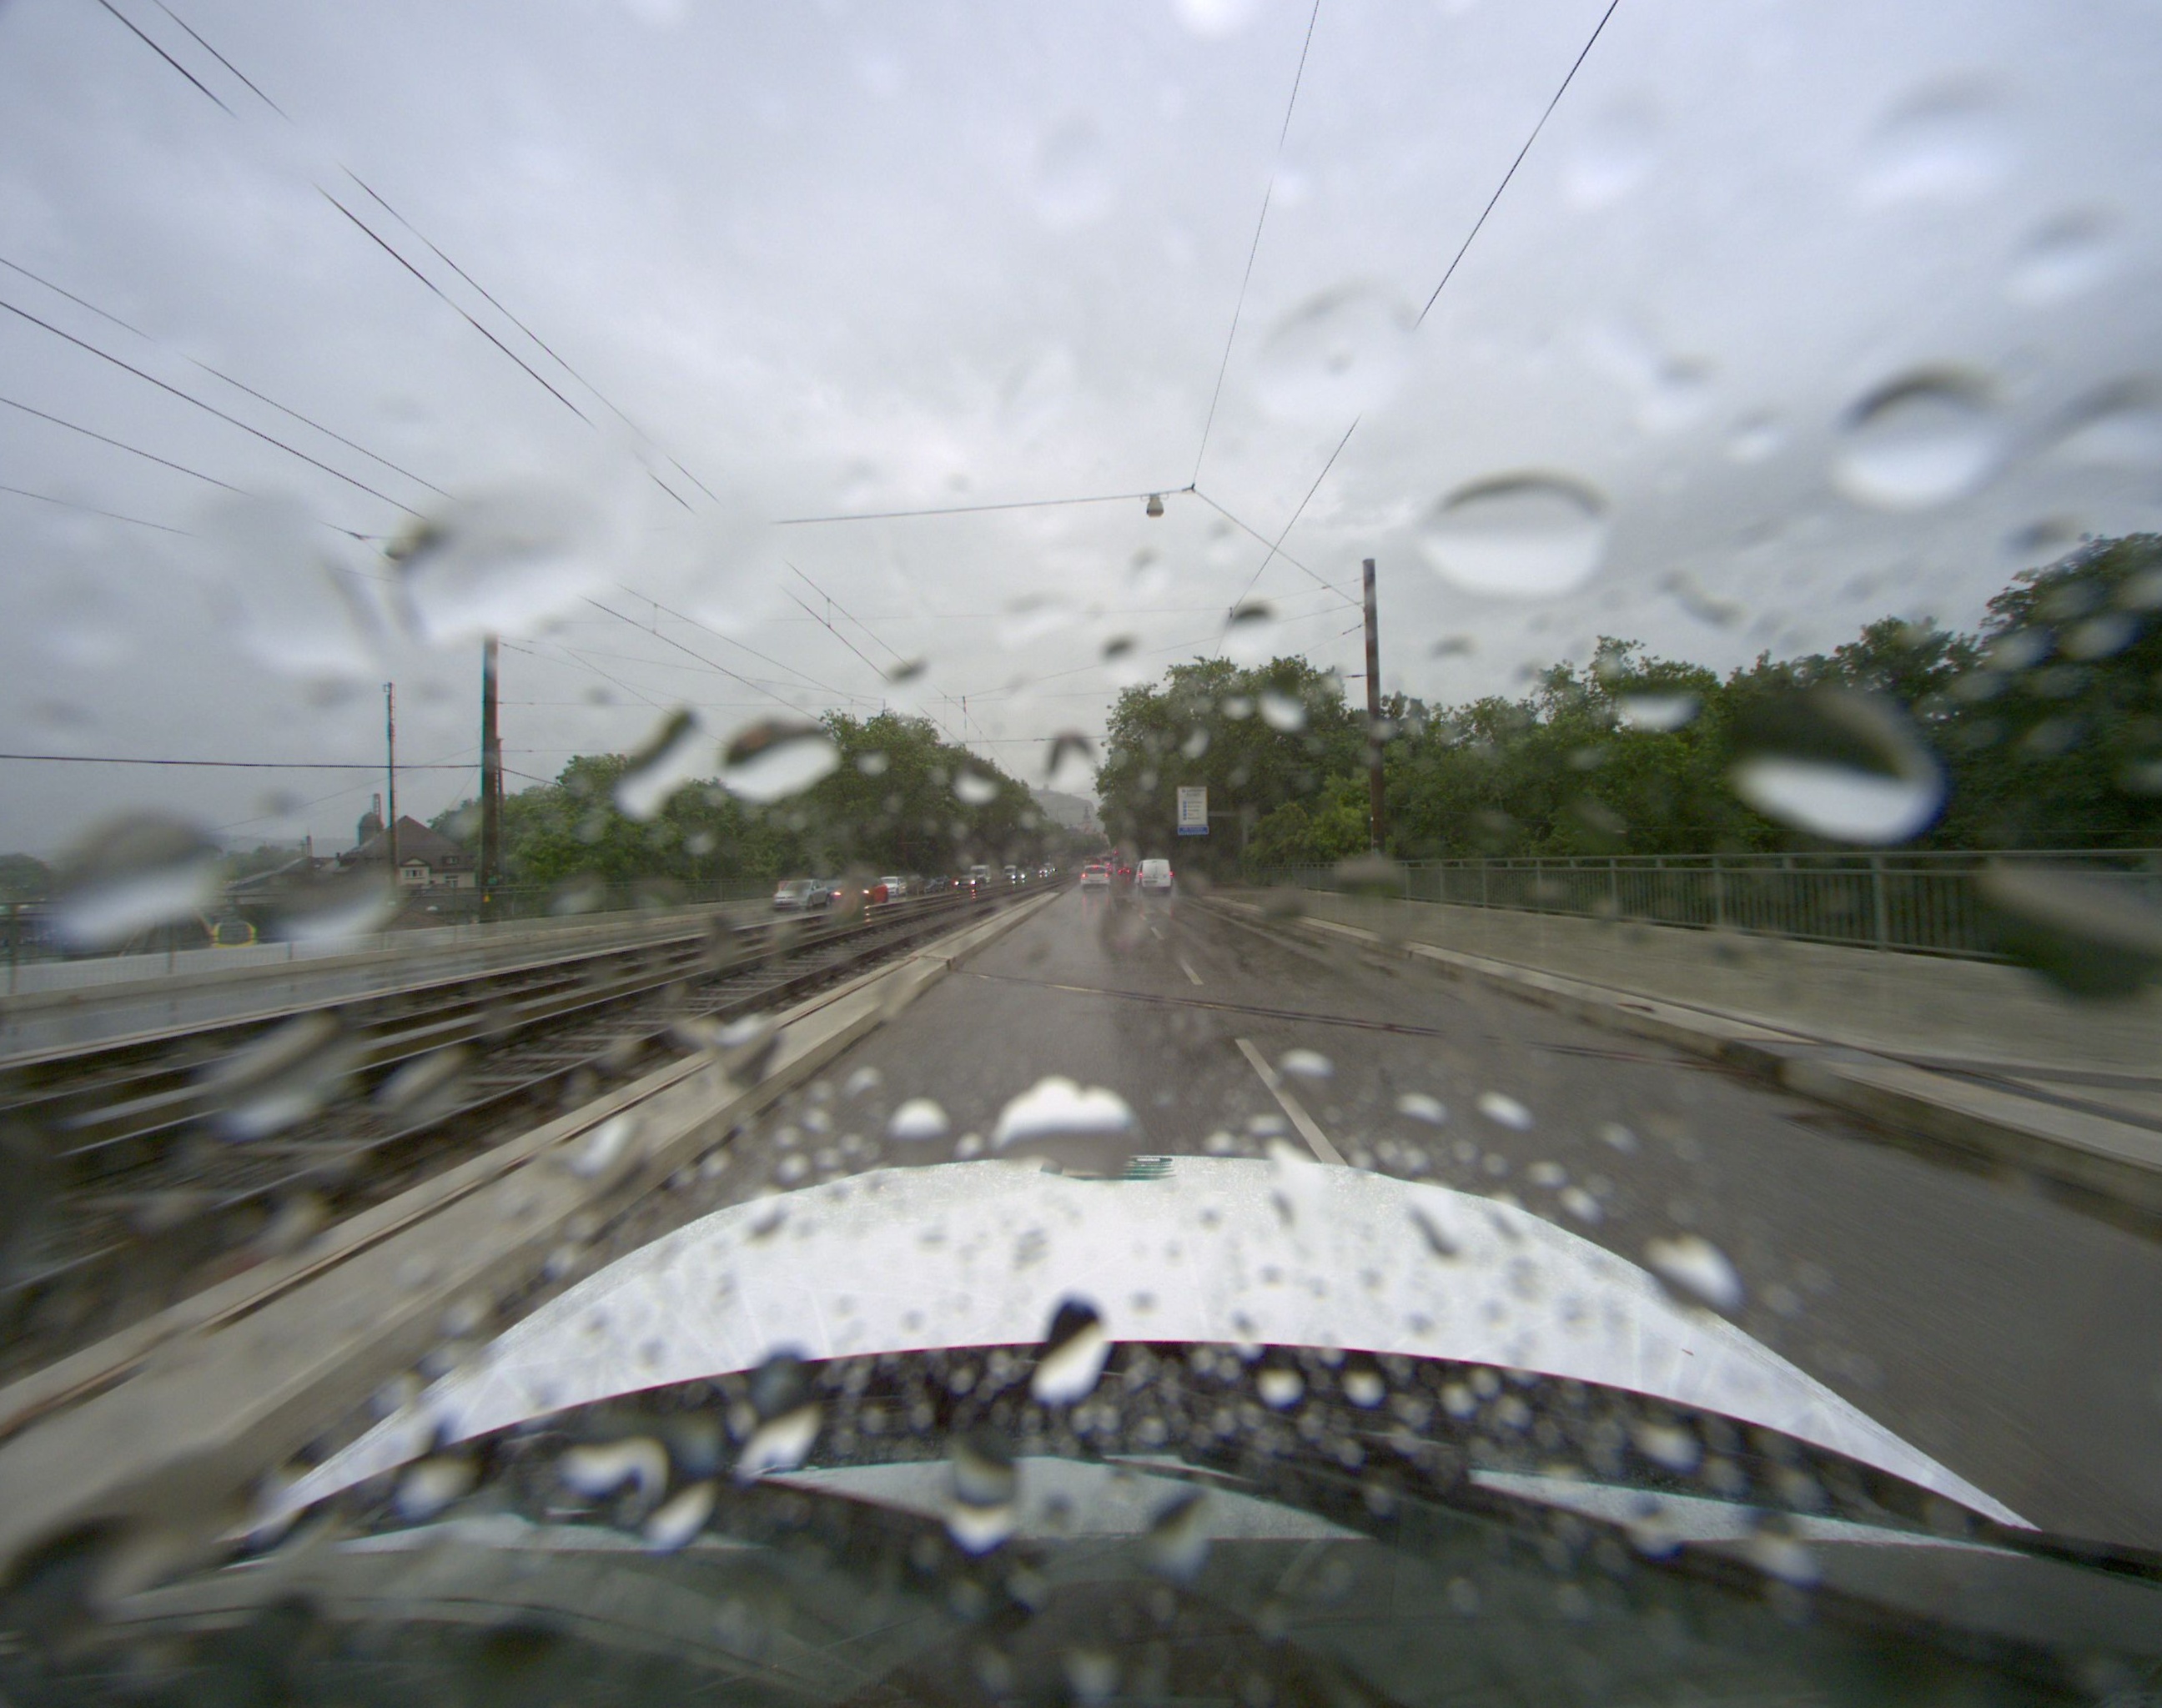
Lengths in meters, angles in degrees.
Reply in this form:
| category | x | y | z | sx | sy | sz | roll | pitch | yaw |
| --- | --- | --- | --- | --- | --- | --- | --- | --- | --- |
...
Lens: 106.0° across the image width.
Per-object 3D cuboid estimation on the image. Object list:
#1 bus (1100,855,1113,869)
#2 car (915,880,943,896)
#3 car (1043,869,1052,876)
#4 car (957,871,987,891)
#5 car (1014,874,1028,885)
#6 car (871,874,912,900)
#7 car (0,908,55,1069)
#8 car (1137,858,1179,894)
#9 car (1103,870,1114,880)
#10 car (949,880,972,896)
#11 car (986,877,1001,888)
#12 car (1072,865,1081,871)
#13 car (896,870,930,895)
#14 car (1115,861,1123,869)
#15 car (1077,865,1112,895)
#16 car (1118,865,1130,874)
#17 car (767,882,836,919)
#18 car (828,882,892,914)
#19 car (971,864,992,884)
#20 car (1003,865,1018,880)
| category | x | y | z | sx | sy | sz | roll | pitch | yaw |
| --- | --- | --- | --- | --- | --- | --- | --- | --- | --- |
| bus | 7.557 | 2.300 | 240.680 | 3.375 | 3.836 | 9.747 | 0 | 0 | 3 |
| car | -12.918 | 2.876 | 69.449 | 1.500 | 1.172 | 3.713 | -4 | 0 | 1 |
| car | -8.129 | 4.461 | 197.220 | 1.798 | 1.350 | 4.265 | -4 | 0 | 1 |
| car | -9.311 | 2.286 | 69.634 | 1.809 | 1.368 | 4.268 | 0 | 3 | 2 |
| car | -9.036 | 3.880 | 123.754 | 1.500 | 1.401 | 4.709 | -4 | 0 | 2 |
| car | -13.220 | 2.282 | 57.045 | 1.501 | 1.400 | 4.893 | -7 | 0 | 0 |
| car | -11.081 | 1.286 | 6.000 | 1.792 | 1.482 | 4.085 | 0 | 0 | 2 |
| car | 3.862 | 1.067 | 41.392 | 1.985 | 1.726 | 4.004 | 0 | 0 | 3 |
| car | 5.514 | 4.175 | 163.511 | 1.985 | 1.827 | 4.004 | 0 | 0 | 3 |
| car | -12.738 | 3.543 | 86.060 | 1.604 | 1.442 | 4.263 | -4 | 0 | 1 |
| car | -12.532 | 4.065 | 117.272 | 1.500 | 1.350 | 4.028 | -4 | 0 | 1 |
| car | -1.095 | 3.721 | 218.754 | 1.795 | 1.350 | 4.272 | -4 | 0 | 7 |
| car | -13.089 | 2.214 | 63.603 | 1.501 | 1.671 | 4.833 | -4 | 0 | 0 |
| car | 9.605 | 2.805 | 204.654 | 1.985 | 1.827 | 4.004 | 0 | 0 | 3 |
| car | 0.876 | 1.579 | 51.001 | 1.985 | 1.717 | 4.004 | 0 | 0 | 3 |
| car | 6.909 | 2.499 | 130.312 | 1.985 | 1.321 | 4.004 | 0 | 0 | 3 |
| car | -13.796 | 2.267 | 40.466 | 1.857 | 1.455 | 4.320 | -4 | 0 | 0 |
| car | -10.443 | 2.062 | 38.809 | 1.792 | 1.316 | 4.085 | 0 | 0 | 2 |
| car | -12.426 | 2.476 | 102.188 | 1.735 | 2.169 | 5.813 | -4 | 0 | 0 |
| car | -11.896 | 3.099 | 137.870 | 1.794 | 2.221 | 4.278 | -4 | 0 | 1 |
